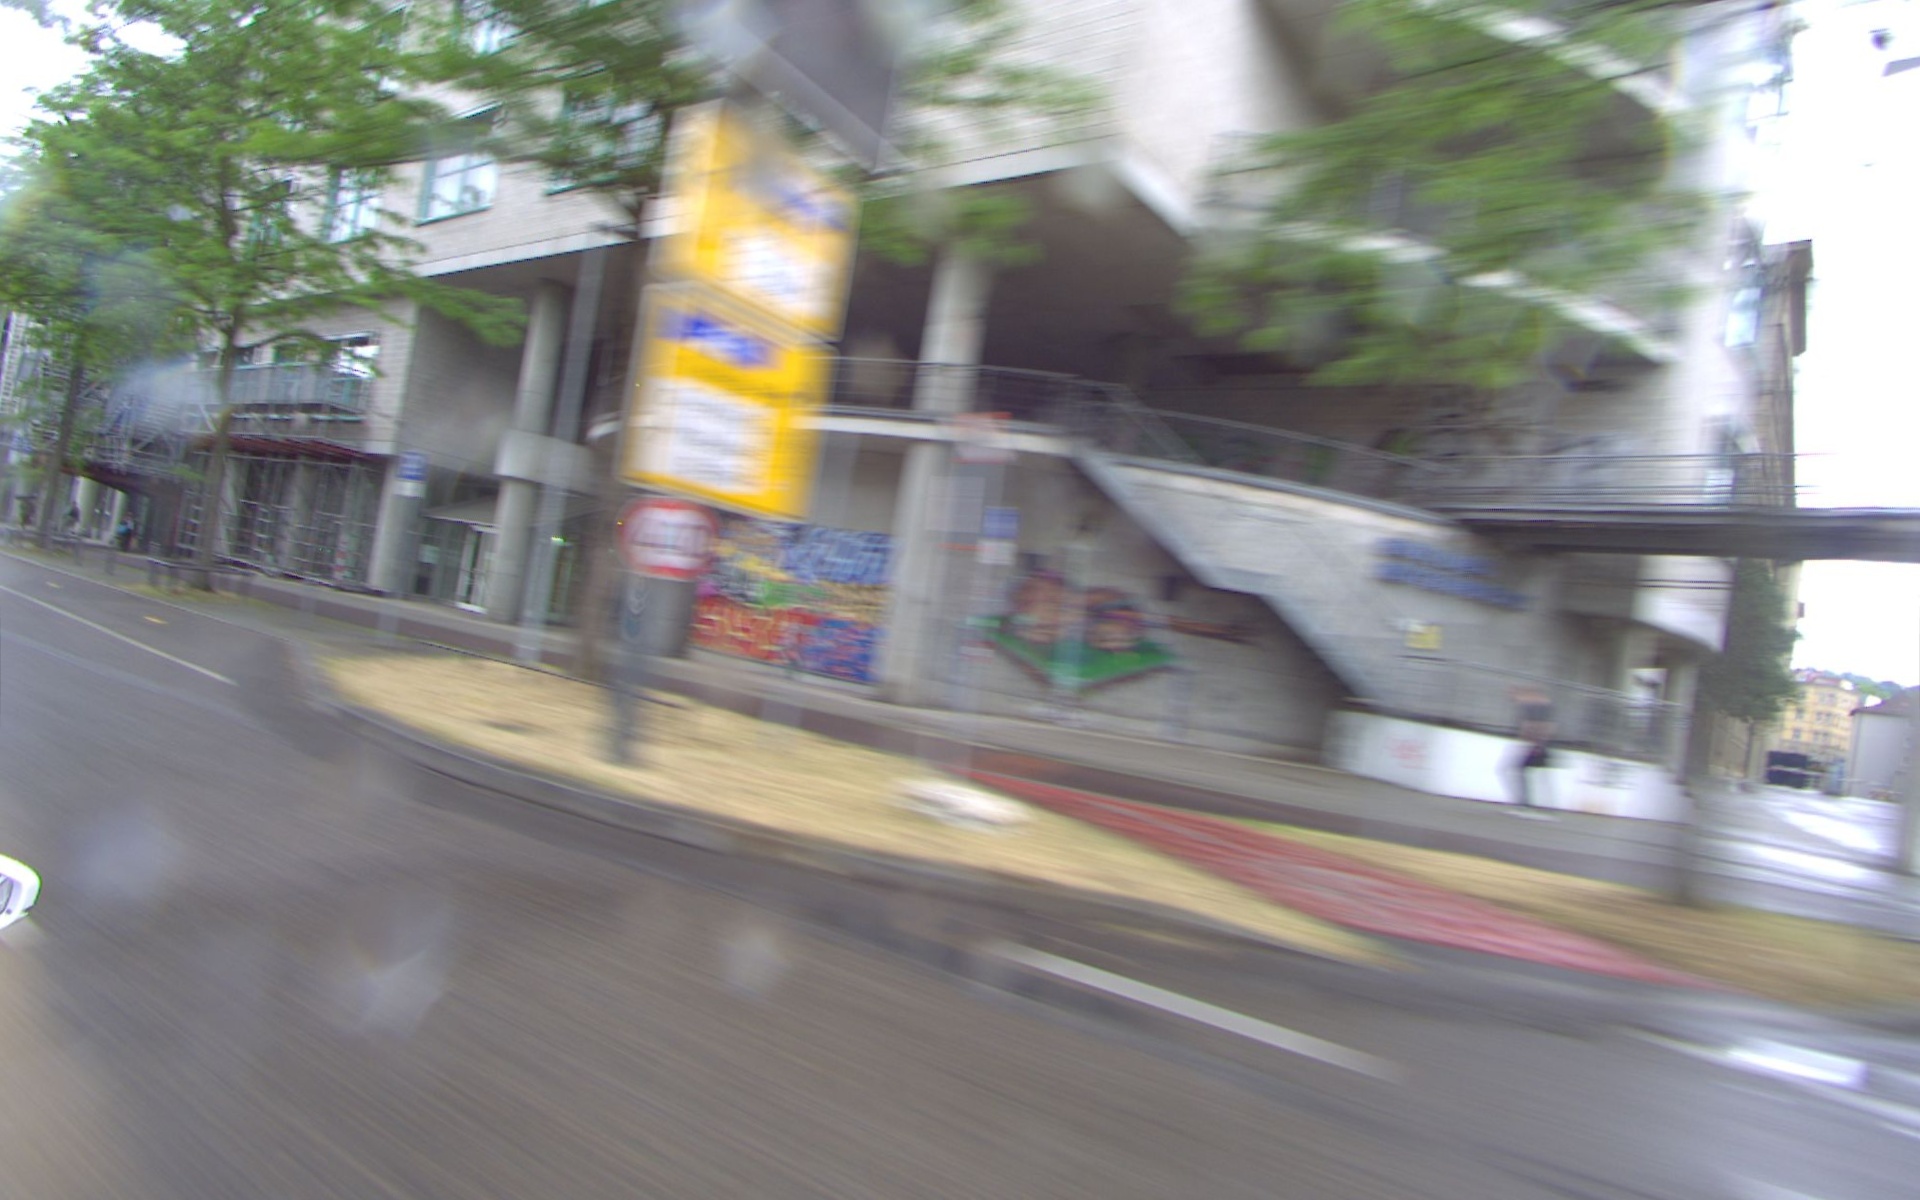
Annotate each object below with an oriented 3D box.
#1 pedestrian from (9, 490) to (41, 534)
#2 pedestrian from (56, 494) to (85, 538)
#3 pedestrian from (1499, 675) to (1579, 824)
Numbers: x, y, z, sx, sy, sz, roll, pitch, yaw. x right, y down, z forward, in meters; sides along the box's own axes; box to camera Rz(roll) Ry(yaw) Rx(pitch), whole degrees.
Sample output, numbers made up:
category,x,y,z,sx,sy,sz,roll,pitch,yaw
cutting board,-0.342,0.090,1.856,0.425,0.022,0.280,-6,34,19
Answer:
category,x,y,z,sx,sy,sz,roll,pitch,yaw
pedestrian,-44.268,-4.176,47.623,0.691,1.942,0.777,6,-2,31
pedestrian,-42.029,-3.953,47.541,0.693,1.942,0.774,6,-2,42
pedestrian,8.201,2.098,14.246,0.745,1.932,0.847,7,-1,32
